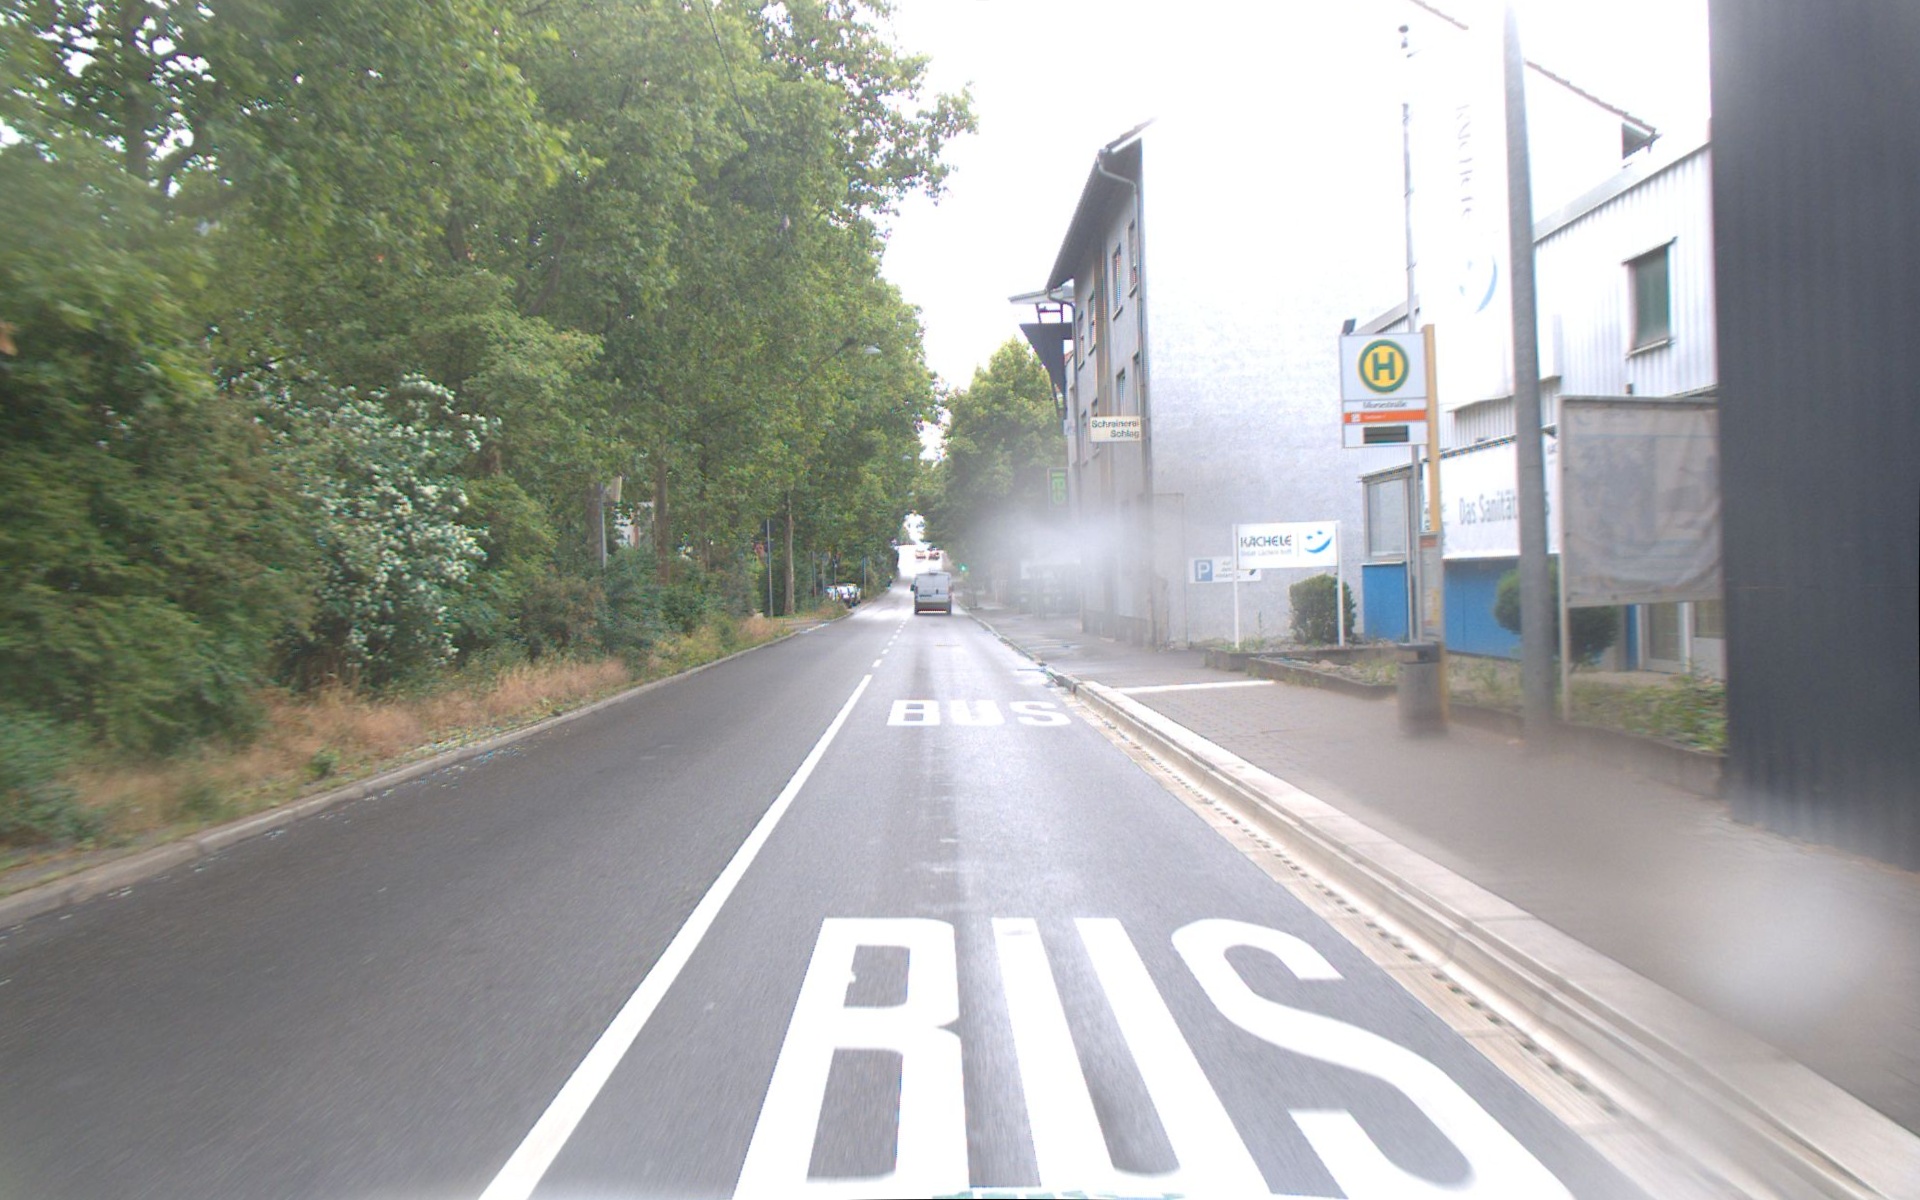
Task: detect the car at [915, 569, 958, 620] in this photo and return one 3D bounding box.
[{"bbox_3d":[-1.295,-0.252,90.008,2.236,2.597,3.999,-1,-1,-1],"label":"car"}]

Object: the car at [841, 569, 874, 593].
[{"bbox_3d":[-8.007,-1.439,129.216,2.170,1.721,4.609,0,-1,1],"label":"car"}]

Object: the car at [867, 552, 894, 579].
[{"bbox_3d":[-7.391,-3.196,153.349,2.170,2.334,4.609,0,-1,1],"label":"car"}]

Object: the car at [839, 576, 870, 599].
[{"bbox_3d":[-7.806,-0.903,122.901,1.954,1.570,4.609,0,-1,1],"label":"car"}]

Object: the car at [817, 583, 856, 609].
[{"bbox_3d":[-8.110,-0.239,108.881,2.170,1.620,4.609,0,-1,1],"label":"car"}]

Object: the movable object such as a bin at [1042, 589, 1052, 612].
[{"bbox_3d":[4.189,0.021,79.879,0.392,1.085,0.358,-1,-2,-7],"label":"movable object such as a bin"}]

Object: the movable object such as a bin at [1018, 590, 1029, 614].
[{"bbox_3d":[3.051,0.096,79.799,0.392,1.085,0.358,-5,-1,-7],"label":"movable object such as a bin"}]

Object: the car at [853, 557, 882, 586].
[{"bbox_3d":[-8.127,-2.492,145.693,2.170,2.334,4.609,0,-2,1],"label":"car"}]

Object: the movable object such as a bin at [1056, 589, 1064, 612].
[{"bbox_3d":[4.836,0.022,79.884,0.349,1.085,0.358,0,-2,-7],"label":"movable object such as a bin"}]

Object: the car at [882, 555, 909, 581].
[{"bbox_3d":[-6.292,-3.144,161.768,2.169,2.334,4.611,0,-1,4],"label":"car"}]

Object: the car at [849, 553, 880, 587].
[{"bbox_3d":[-7.764,-2.434,134.833,2.170,2.578,4.609,0,-2,1],"label":"car"}]
